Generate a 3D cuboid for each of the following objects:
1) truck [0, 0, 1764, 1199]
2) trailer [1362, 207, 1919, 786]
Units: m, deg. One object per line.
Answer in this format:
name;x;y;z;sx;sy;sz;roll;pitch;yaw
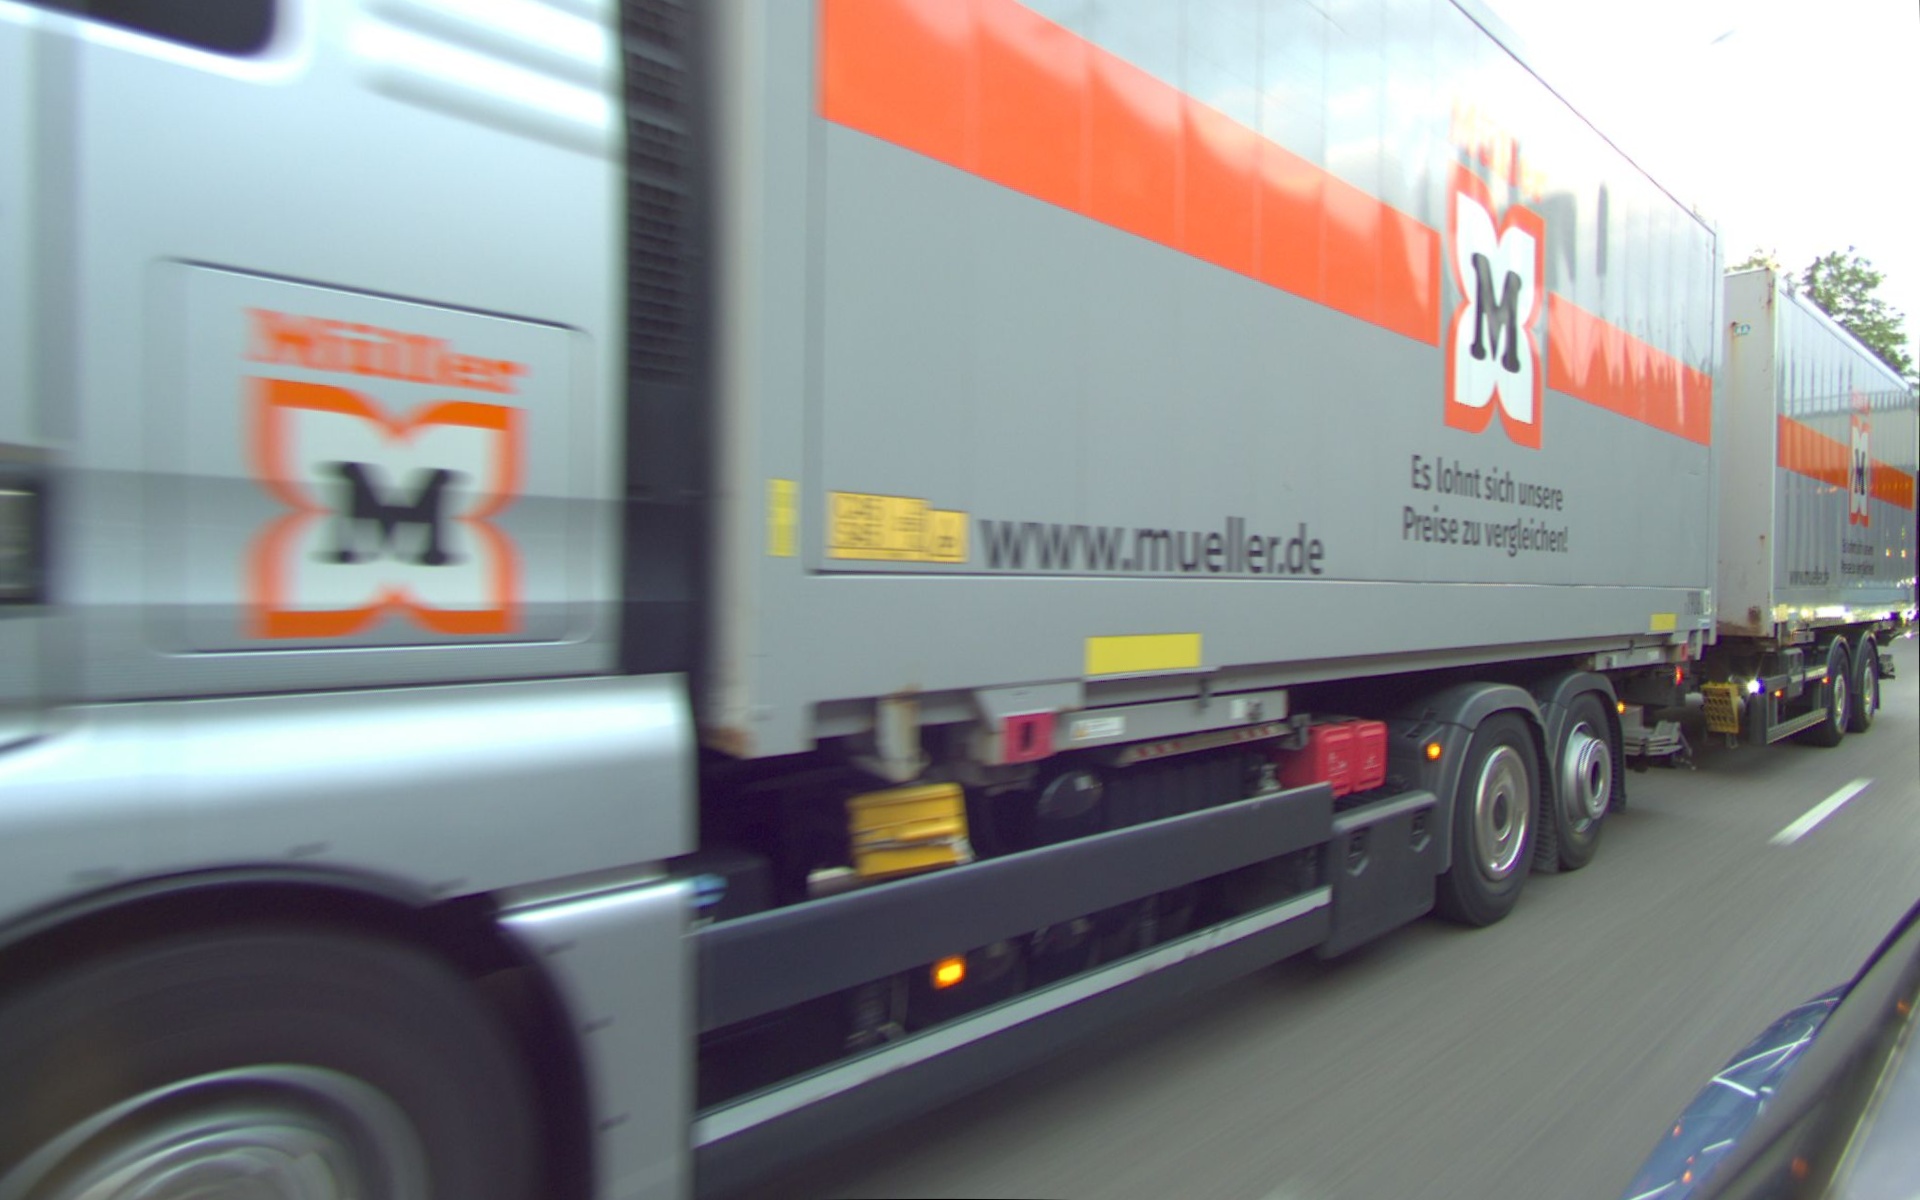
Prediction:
truck;0.790;-0.653;4.788;9.734;3.963;2.894;-1;1;-40
trailer;7.868;-0.750;10.775;8.789;3.907;2.881;-1;0;-40
